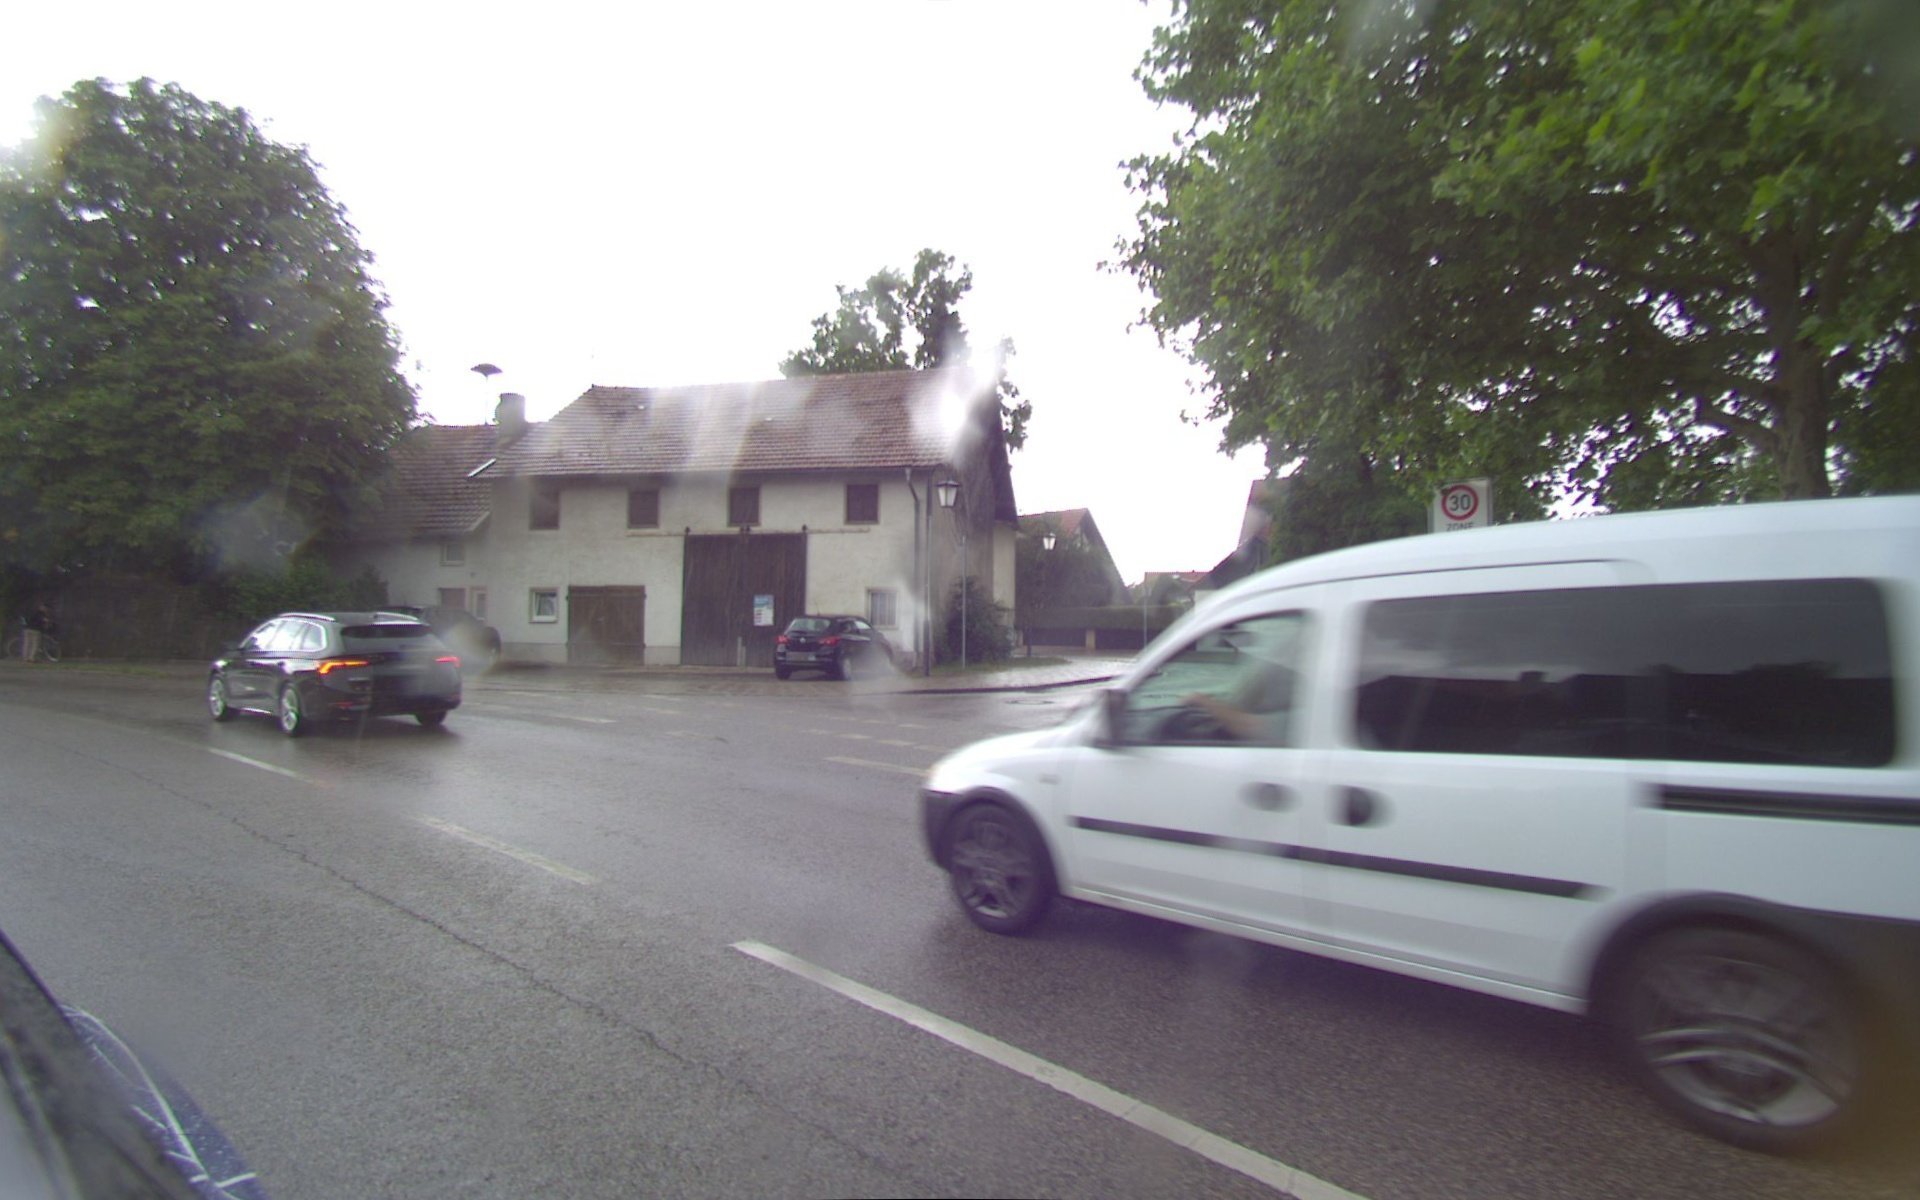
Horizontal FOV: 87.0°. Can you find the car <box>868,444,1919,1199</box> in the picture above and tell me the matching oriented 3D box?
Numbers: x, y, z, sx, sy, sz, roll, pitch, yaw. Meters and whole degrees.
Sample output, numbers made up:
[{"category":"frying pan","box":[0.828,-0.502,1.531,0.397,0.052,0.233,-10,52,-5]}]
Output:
[{"category":"car","box":[1.674,0.543,4.049,4.332,1.778,1.622,-1,-1,44]}]

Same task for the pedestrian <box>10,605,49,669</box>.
[{"category":"pedestrian","box":[-24.191,0.946,26.314,0.642,1.640,0.480,1,-1,-30]}]

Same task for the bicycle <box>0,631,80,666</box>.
[{"category":"bicycle","box":[-24.679,1.280,26.967,1.847,0.909,0.664,0,-1,-1]}]

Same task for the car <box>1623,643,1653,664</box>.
[{"category":"car","box":[55.236,4.343,82.449,1.995,1.453,3.954,0,0,34]}]

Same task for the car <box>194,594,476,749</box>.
[{"category":"car","box":[-8.168,0.837,13.070,4.441,1.676,1.766,-2,-2,39]}]

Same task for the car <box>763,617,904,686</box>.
[{"category":"car","box":[-2.823,1.127,23.532,1.804,1.447,4.260,0,-1,15]}]

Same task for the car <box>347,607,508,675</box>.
[{"category":"car","box":[-13.292,1.057,25.596,1.792,1.560,4.280,1,-3,0]}]
